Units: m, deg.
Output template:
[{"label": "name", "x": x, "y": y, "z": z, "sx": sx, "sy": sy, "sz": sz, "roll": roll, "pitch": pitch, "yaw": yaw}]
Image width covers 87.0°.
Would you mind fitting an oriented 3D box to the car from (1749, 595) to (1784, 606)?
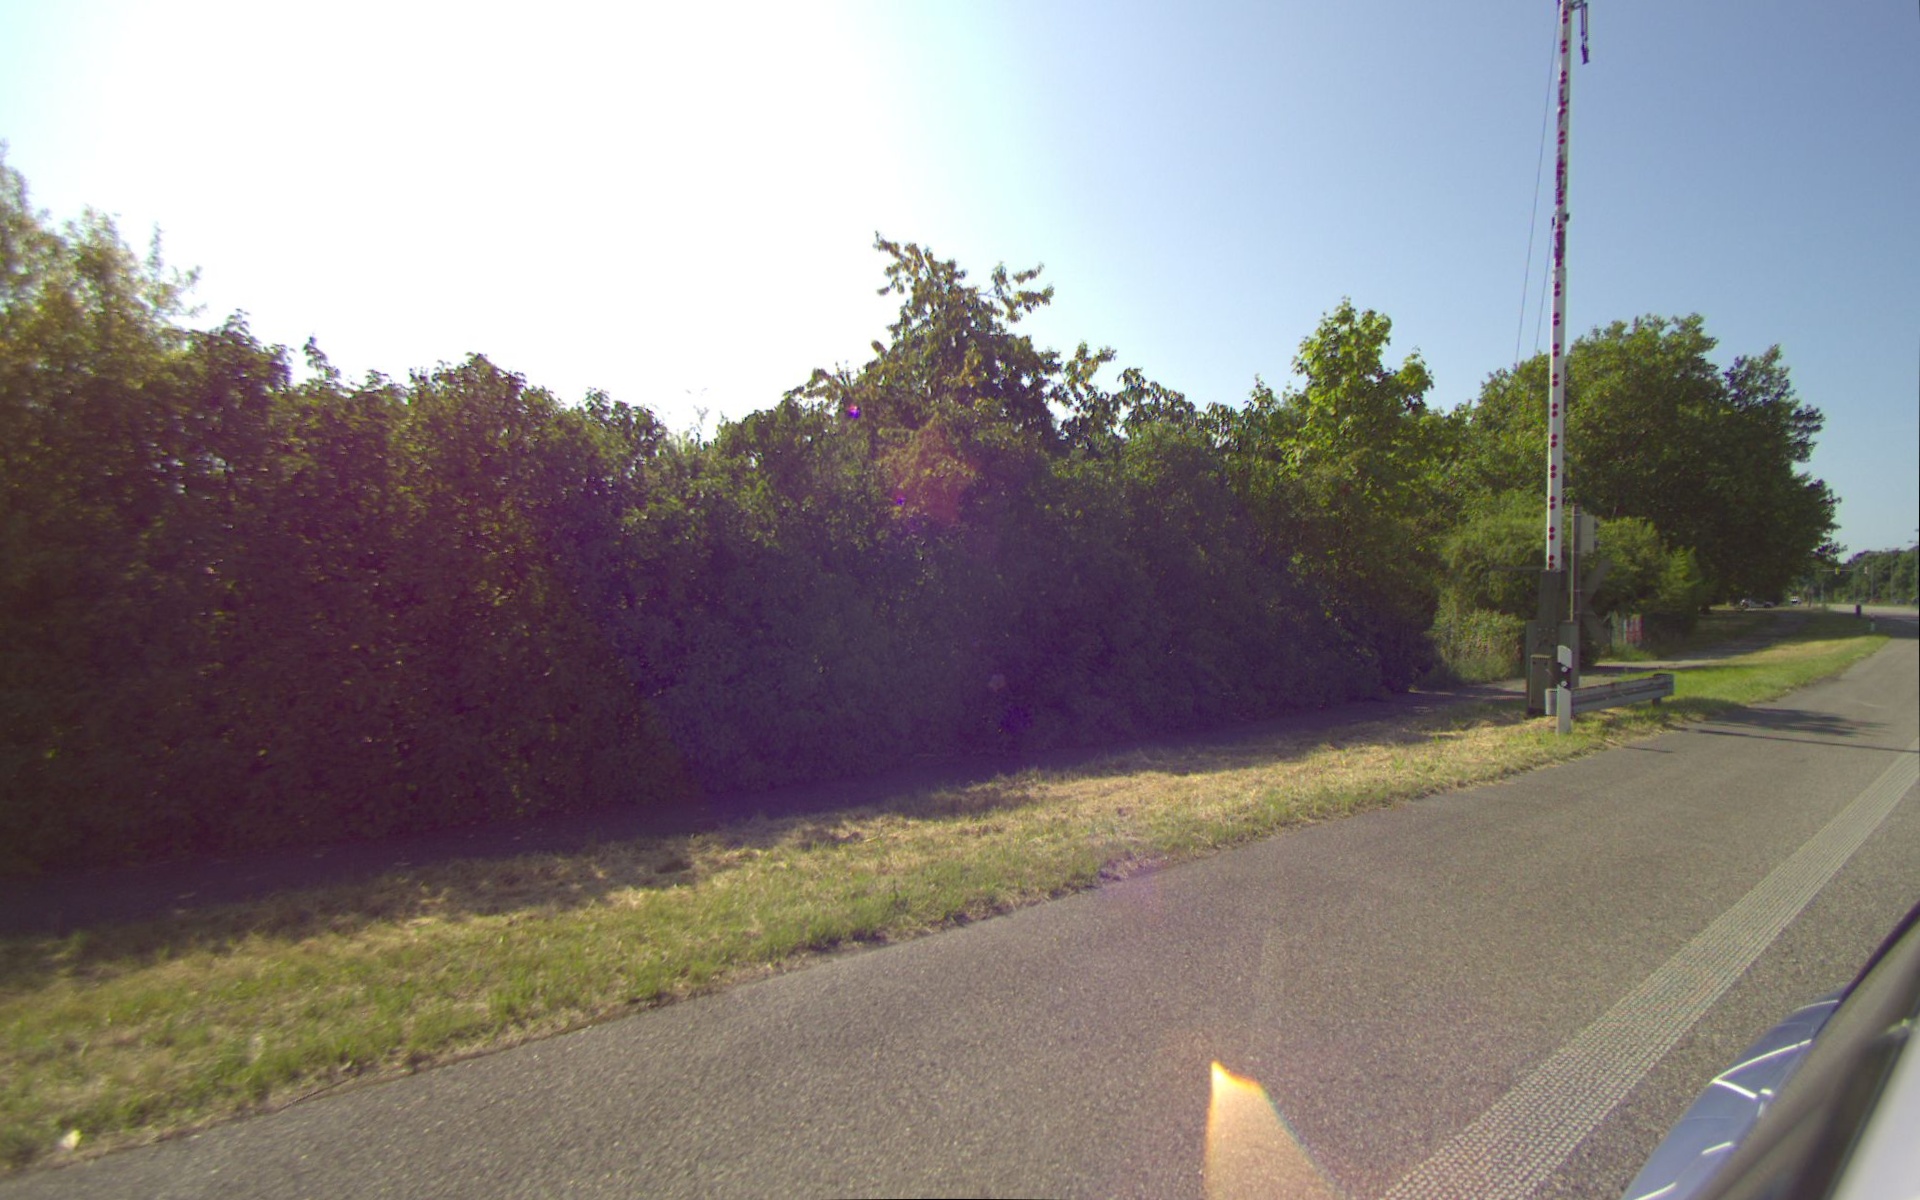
[{"label": "car", "x": 120.624, "y": 0.114, "z": 151.446, "sx": 4.044, "sy": 1.583, "sz": 1.718, "roll": 1, "pitch": 1, "yaw": 39}]
